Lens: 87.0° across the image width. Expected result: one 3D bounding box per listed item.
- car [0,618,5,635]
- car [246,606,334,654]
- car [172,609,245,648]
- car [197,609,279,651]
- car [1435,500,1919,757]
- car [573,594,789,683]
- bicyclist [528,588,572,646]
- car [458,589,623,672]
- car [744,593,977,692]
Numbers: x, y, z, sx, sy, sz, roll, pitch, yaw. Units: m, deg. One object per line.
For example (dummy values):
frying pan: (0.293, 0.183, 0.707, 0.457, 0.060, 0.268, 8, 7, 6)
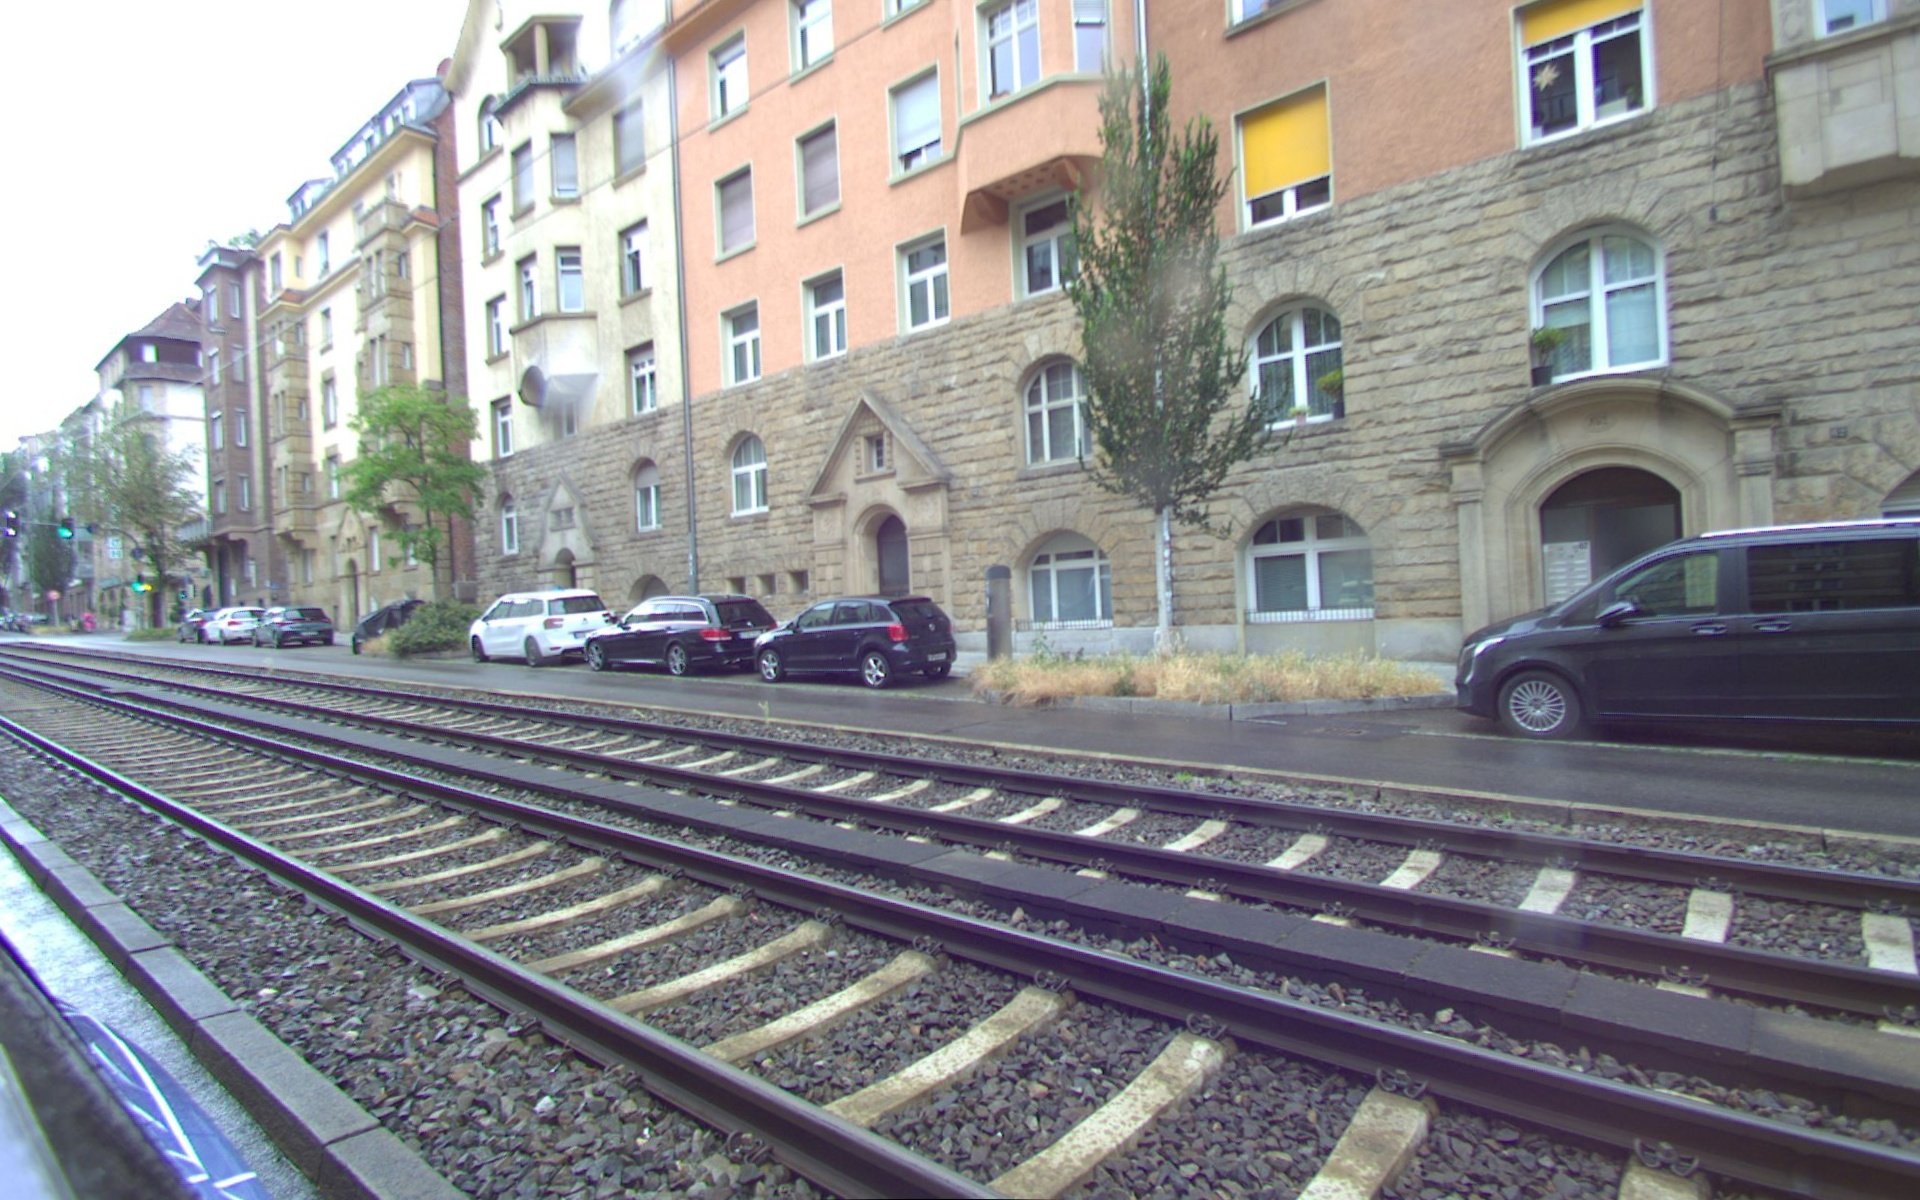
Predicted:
car: (-81.768, 2.228, 85.062, 4.255, 1.356, 1.771, -1, 0, 41)
car: (-23.860, 1.027, 36.013, 3.712, 1.493, 1.695, -1, 3, 42)
car: (-32.071, 1.182, 43.151, 3.712, 1.438, 1.737, -1, 3, 42)
car: (-28.494, 1.148, 39.912, 4.043, 1.462, 1.737, -1, 3, 42)
car: (7.093, 0.221, 9.053, 4.829, 1.945, 1.886, -1, 0, 40)
car: (-5.594, 0.693, 19.968, 4.593, 1.502, 1.738, -1, 2, 39)
bicyclist: (-11.563, 0.476, 28.556, 0.774, 1.613, 0.883, -1, 0, 41)
car: (-9.876, 0.669, 23.676, 4.257, 1.684, 1.738, -1, 3, 40)
car: (-1.720, 0.649, 16.958, 3.690, 1.414, 1.739, -1, 2, 38)
